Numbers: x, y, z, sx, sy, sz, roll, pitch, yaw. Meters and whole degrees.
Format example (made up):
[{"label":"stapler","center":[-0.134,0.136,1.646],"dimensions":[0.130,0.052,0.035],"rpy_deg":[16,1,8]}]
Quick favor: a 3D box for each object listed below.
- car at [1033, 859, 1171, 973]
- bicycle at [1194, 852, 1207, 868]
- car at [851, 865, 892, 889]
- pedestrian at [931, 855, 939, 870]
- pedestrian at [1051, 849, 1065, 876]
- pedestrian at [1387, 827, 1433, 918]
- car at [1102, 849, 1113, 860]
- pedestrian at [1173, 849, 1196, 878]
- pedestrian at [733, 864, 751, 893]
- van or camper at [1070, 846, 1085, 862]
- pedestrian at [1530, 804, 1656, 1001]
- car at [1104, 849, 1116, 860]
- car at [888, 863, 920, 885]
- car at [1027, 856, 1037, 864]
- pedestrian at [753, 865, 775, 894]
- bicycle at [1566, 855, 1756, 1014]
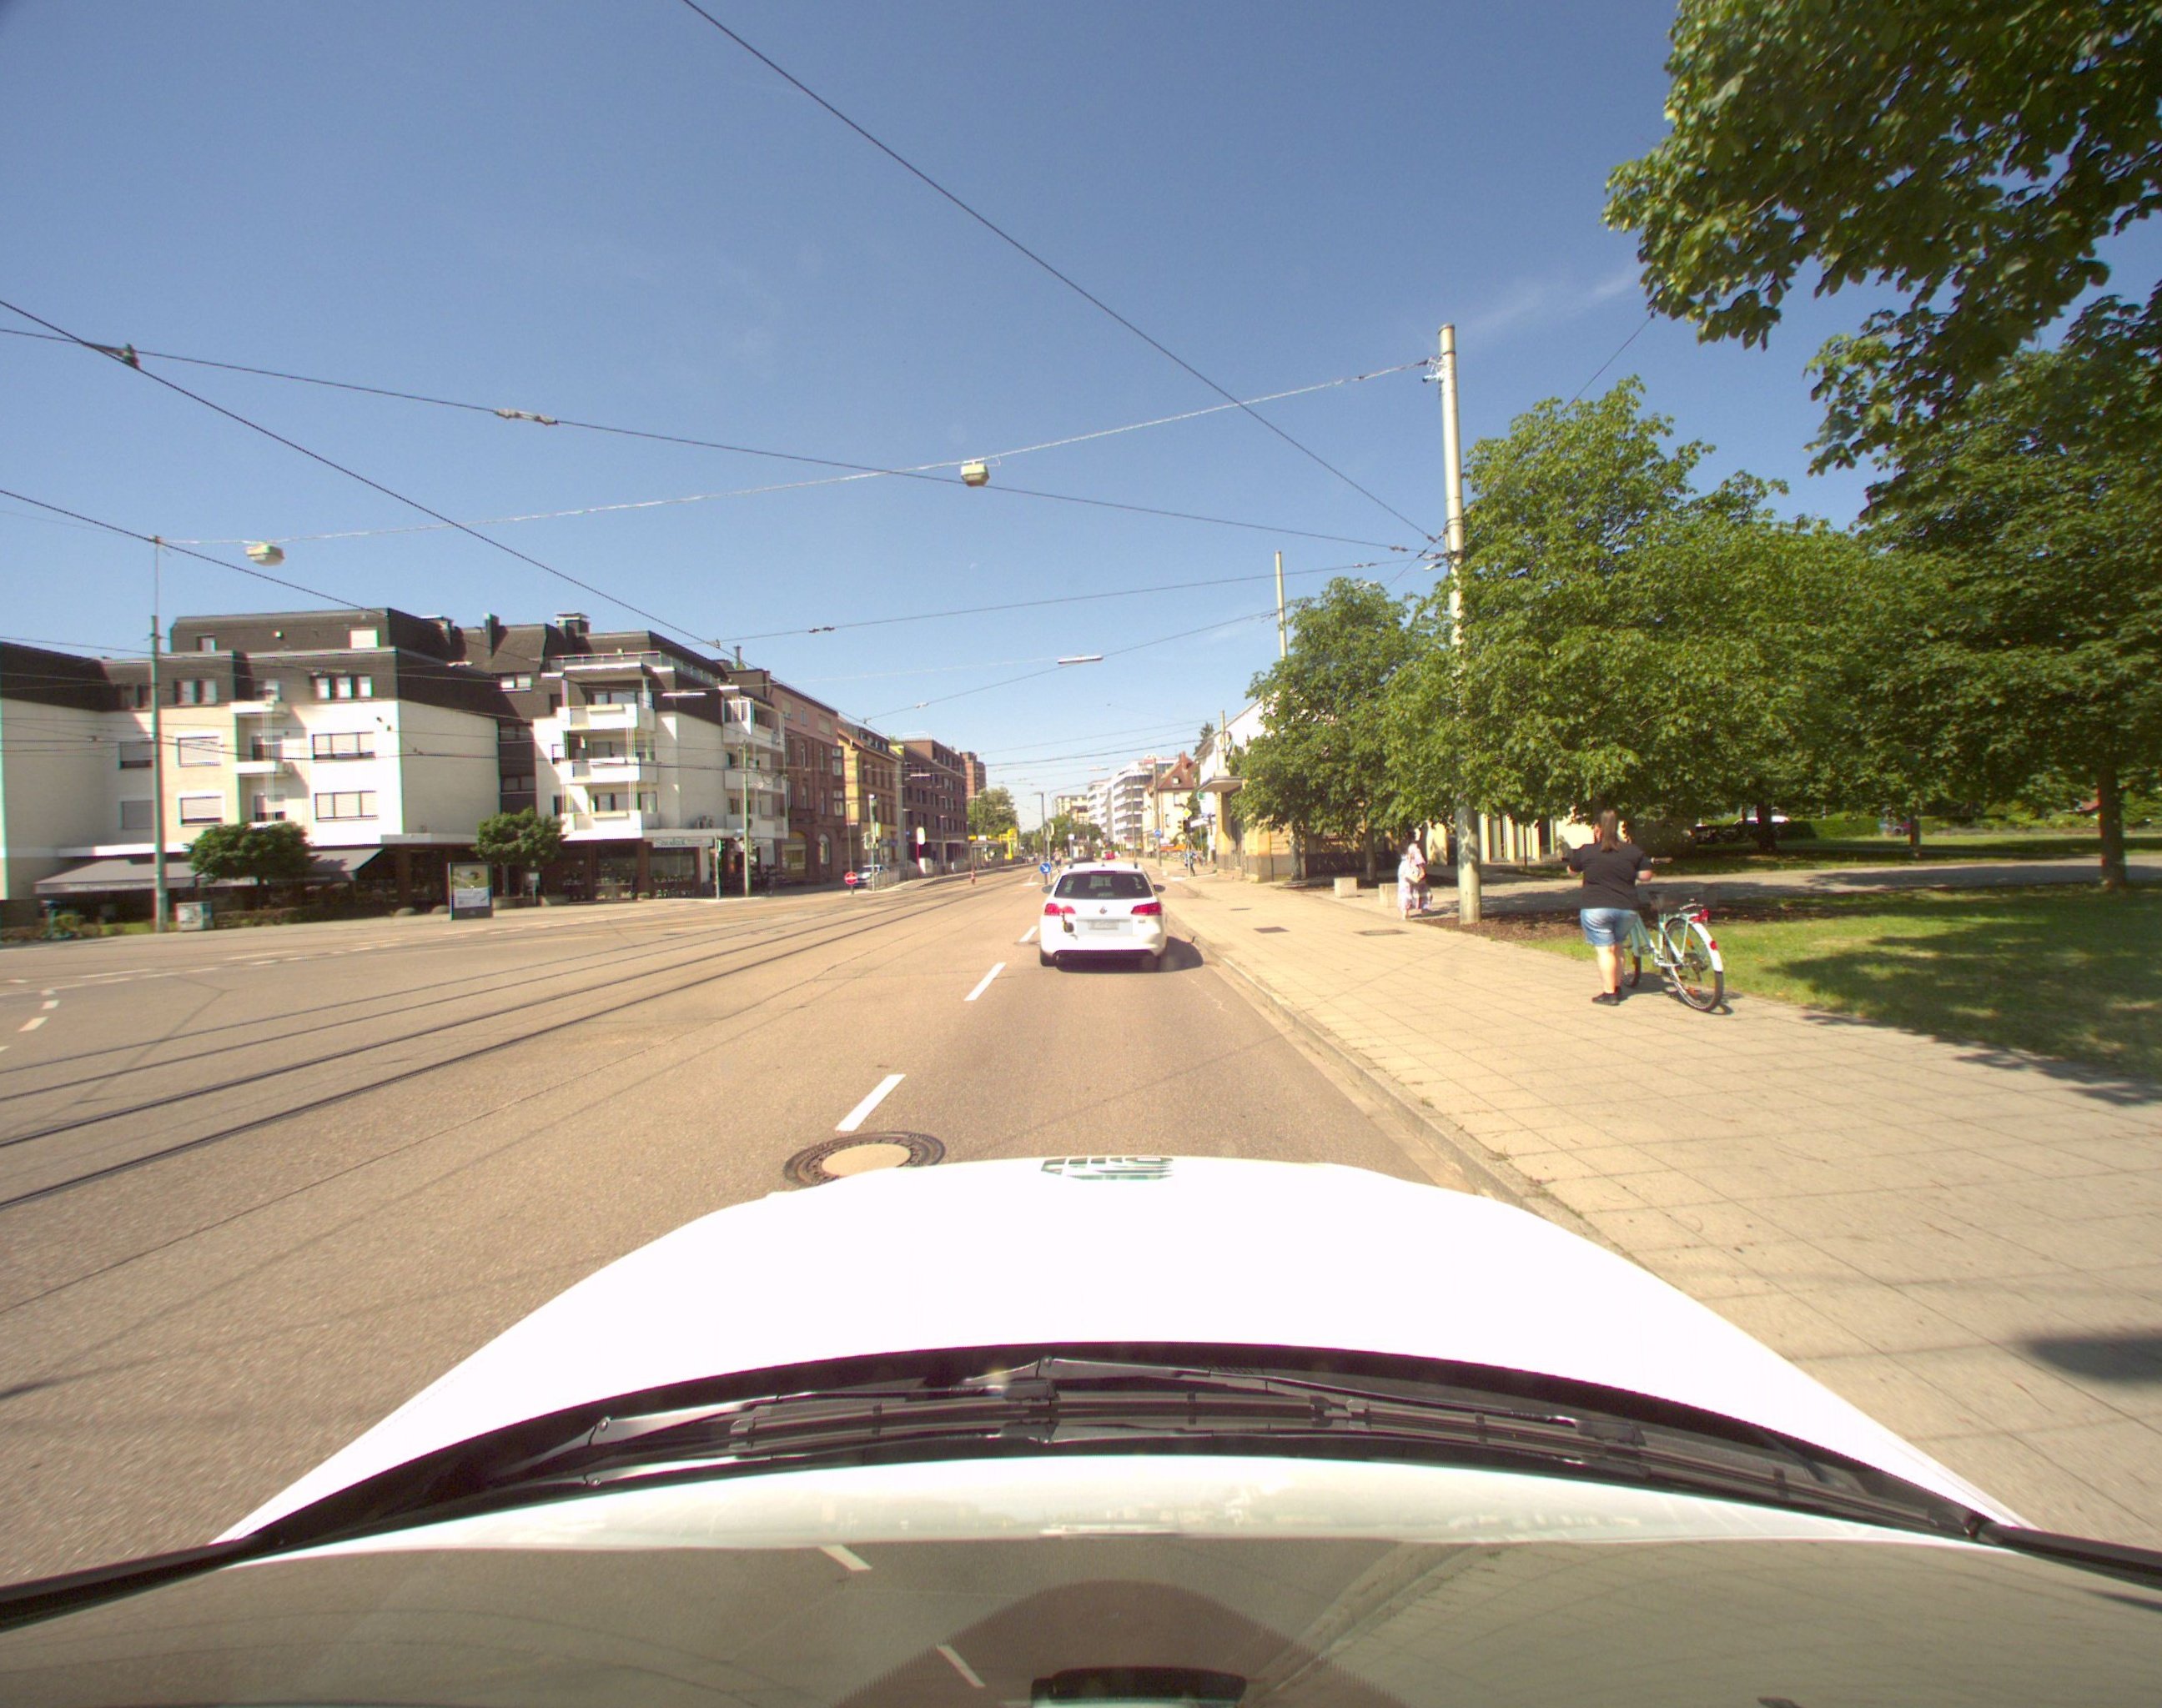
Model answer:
[{"label":"car","center":[0.354,0.802,12.314],"dimensions":[1.746,1.418,3.855],"rpy_deg":[-1,0,2]},{"label":"bicycle","center":[9.277,0.432,63.072],"dimensions":[0.720,1.139,2.203],"rpy_deg":[-3,0,15]},{"label":"car","center":[-13.751,1.502,53.600],"dimensions":[1.620,1.431,3.963],"rpy_deg":[-2,0,1]},{"label":"pedestrian","center":[-17.694,0.984,98.720],"dimensions":[0.722,1.791,0.965],"rpy_deg":[-3,0,2]},{"label":"pedestrian","center":[-1.583,0.566,56.113],"dimensions":[0.823,1.809,0.834],"rpy_deg":[-3,0,2]},{"label":"pedestrian","center":[6.261,0.341,15.539],"dimensions":[0.645,1.682,0.710],"rpy_deg":[-3,0,13]},{"label":"car","center":[5.611,0.083,170.637],"dimensions":[1.989,2.013,3.997],"rpy_deg":[-3,0,-2]},{"label":"pedestrian","center":[5.595,0.490,43.915],"dimensions":[0.861,1.510,0.774],"rpy_deg":[-3,0,-31]},{"label":"pedestrian","center":[-19.800,1.416,47.591],"dimensions":[0.676,1.647,0.732],"rpy_deg":[-3,0,1]},{"label":"van or camper","center":[-0.736,-0.007,174.074],"dimensions":[2.933,3.180,6.615],"rpy_deg":[-3,0,1]},{"label":"pedestrian","center":[4.318,0.388,6.912],"dimensions":[0.538,1.548,0.663],"rpy_deg":[-5,0,1]},{"label":"car","center":[5.820,0.066,165.184],"dimensions":[1.989,2.013,3.997],"rpy_deg":[-3,0,-2]},{"label":"car","center":[-13.312,1.471,61.462],"dimensions":[1.568,1.459,3.812],"rpy_deg":[-3,0,-1]},{"label":"car","center":[-10.382,1.281,171.213],"dimensions":[1.661,1.466,3.775],"rpy_deg":[-3,0,2]},{"label":"pedestrian","center":[-18.676,1.516,48.013],"dimensions":[0.873,1.647,0.682],"rpy_deg":[-3,0,8]},{"label":"bicycle","center":[4.673,0.579,6.716],"dimensions":[0.532,1.111,1.812],"rpy_deg":[-4,-1,12]}]
